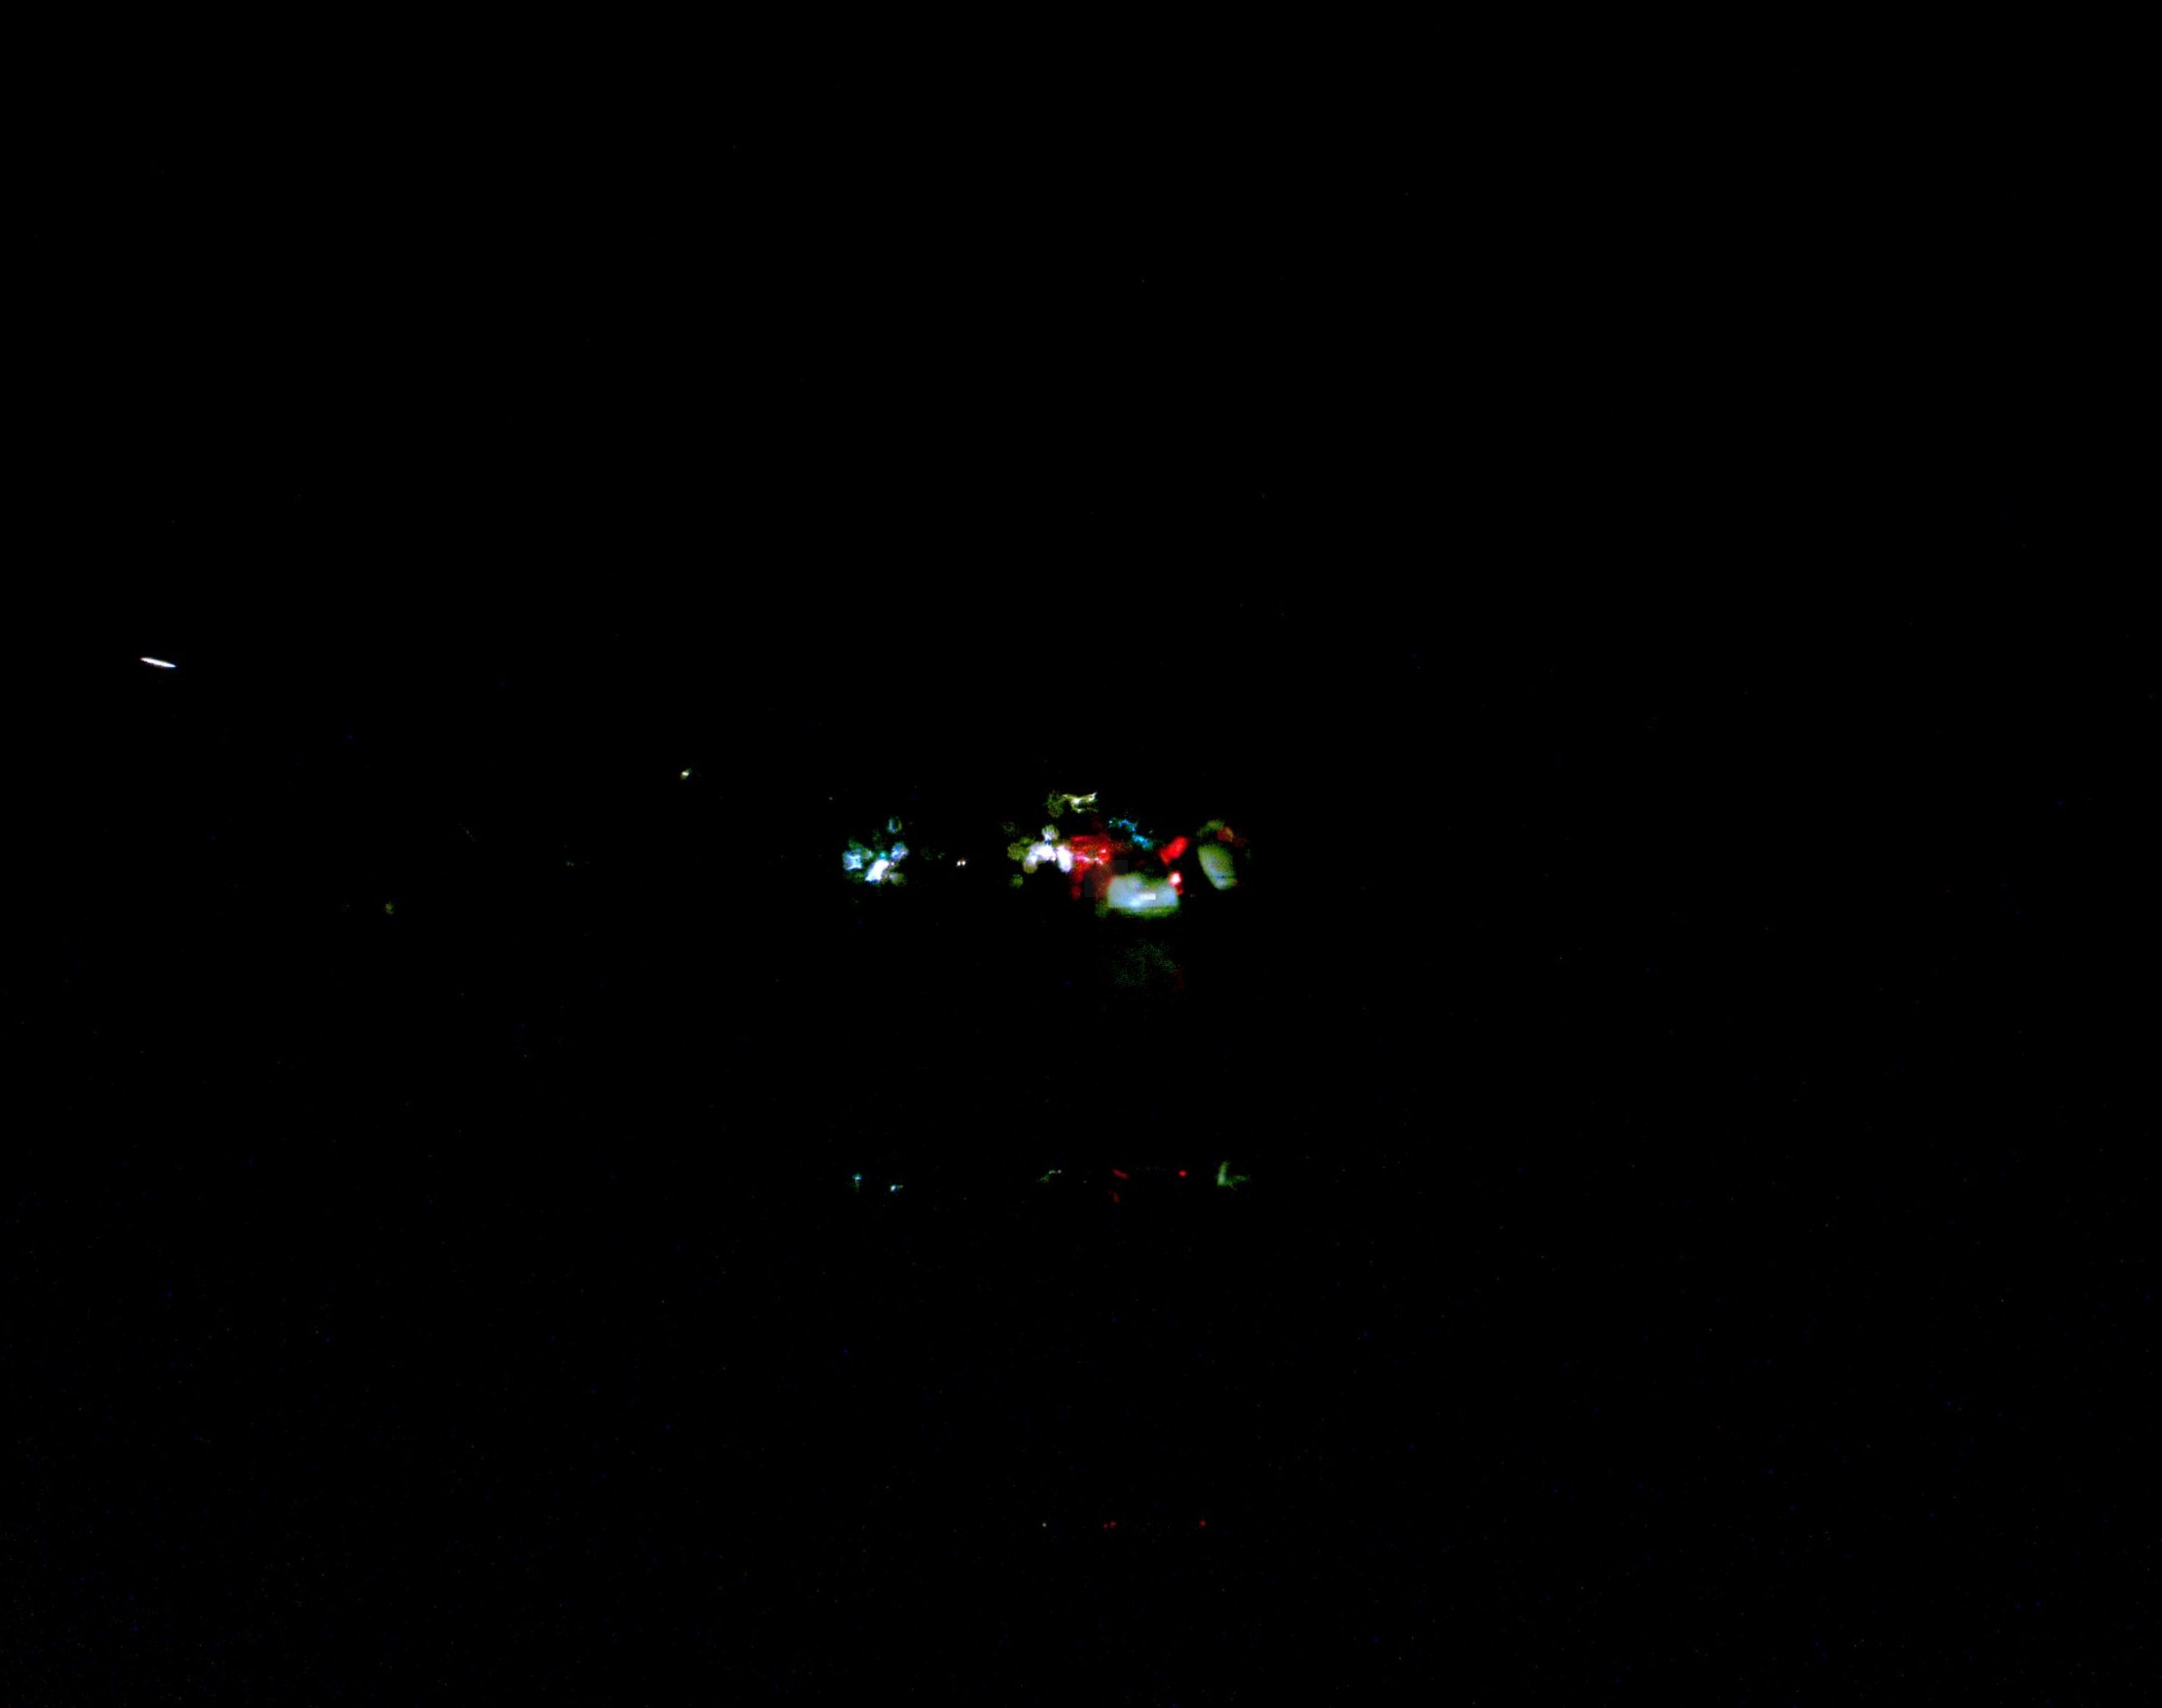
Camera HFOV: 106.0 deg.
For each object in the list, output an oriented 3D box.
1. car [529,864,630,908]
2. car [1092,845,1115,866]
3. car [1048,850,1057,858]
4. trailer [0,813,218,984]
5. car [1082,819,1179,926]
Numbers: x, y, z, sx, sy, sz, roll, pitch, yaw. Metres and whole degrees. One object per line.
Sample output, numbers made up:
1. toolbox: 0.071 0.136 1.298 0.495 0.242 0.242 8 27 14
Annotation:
1. car: -21.792 1.334 35.600 1.780 1.694 4.218 -2 0 0
2. car: 2.055 0.147 75.484 1.779 1.782 4.434 -4 1 -1
3. car: -5.789 -0.006 165.922 1.797 1.588 4.028 -2 0 -2
4. trailer: -31.071 1.161 20.166 3.957 4.610 14.248 0 -1 1
5. car: 1.185 0.340 18.368 1.783 2.021 4.586 -4 0 5
